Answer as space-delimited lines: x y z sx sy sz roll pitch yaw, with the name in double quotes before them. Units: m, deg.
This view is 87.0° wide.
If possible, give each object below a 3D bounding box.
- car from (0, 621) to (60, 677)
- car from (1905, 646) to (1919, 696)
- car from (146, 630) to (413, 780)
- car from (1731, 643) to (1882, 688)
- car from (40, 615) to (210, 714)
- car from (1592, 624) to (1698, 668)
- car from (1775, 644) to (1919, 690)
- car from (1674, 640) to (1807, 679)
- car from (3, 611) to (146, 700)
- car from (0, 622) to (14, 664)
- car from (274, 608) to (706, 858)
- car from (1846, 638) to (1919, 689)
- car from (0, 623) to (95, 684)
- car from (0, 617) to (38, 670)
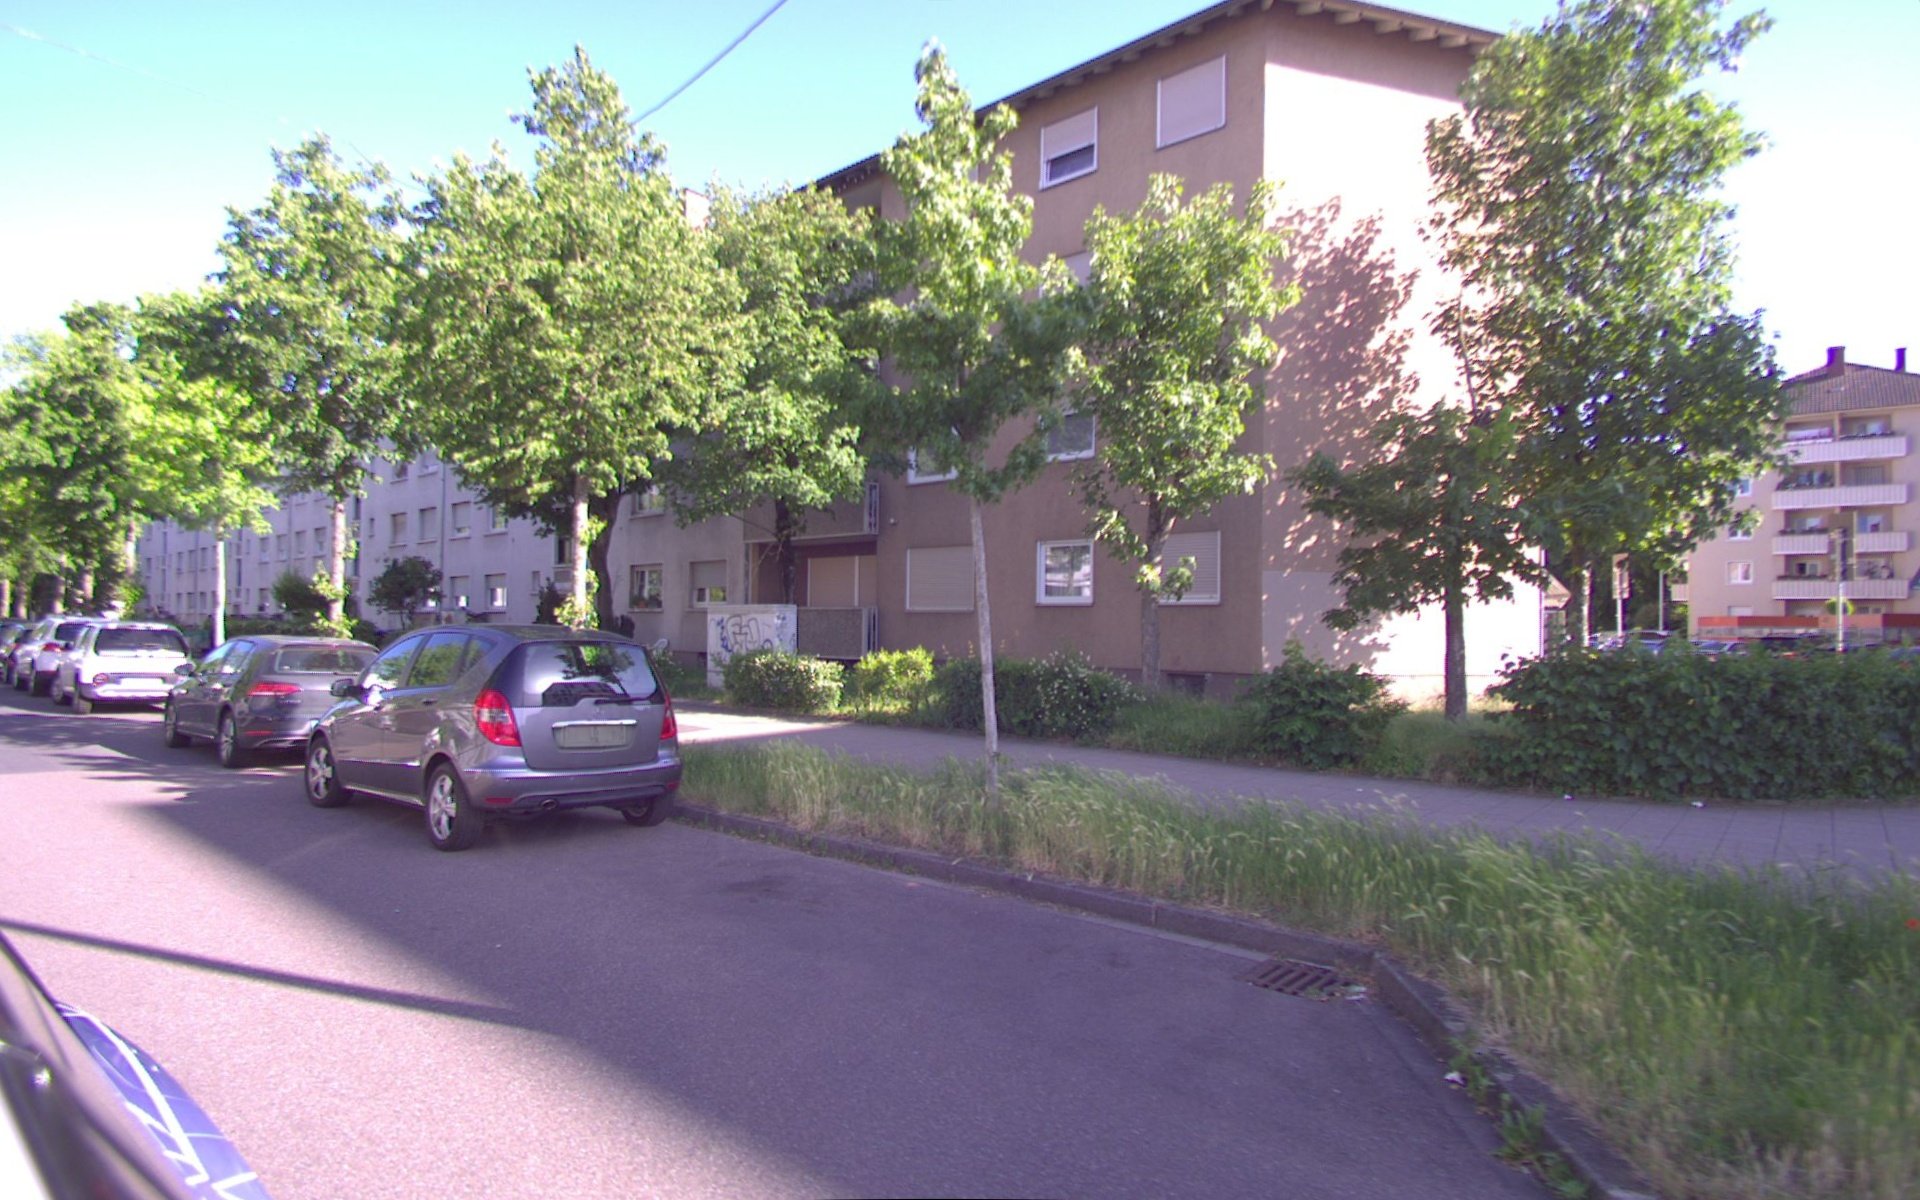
"car" -27.033 1.349 28.753 3.965 1.456 1.631 0 -3 41
"car" 27.799 1.909 26.724 3.939 1.320 2.003 0 0 -5
"car" -8.313 1.122 12.231 4.089 1.405 1.642 0 0 40
"car" 29.815 2.275 35.701 3.935 1.264 2.005 -2 1 -11
"car" -15.091 1.067 18.225 3.997 1.538 1.699 0 0 40
"car" 33.940 2.262 50.201 3.938 2.029 2.003 0 0 -5
"car" 29.112 2.153 32.755 3.939 1.320 2.003 0 0 -5
"car" 31.655 2.382 41.106 3.939 1.408 2.002 0 0 -5
"car" -19.046 1.125 21.703 4.221 1.692 1.685 0 -3 41
"car" -34.574 1.470 35.300 4.066 1.385 1.855 0 -3 41
"car" -4.072 0.895 8.463 4.106 1.574 1.702 0 -3 41
"car" 28.506 1.809 29.384 3.939 1.320 2.003 0 0 -5
"car" -23.402 1.301 25.628 4.234 1.402 1.640 -1 -2 41
"car" -30.741 1.345 31.981 4.406 1.597 1.796 -1 -3 41
